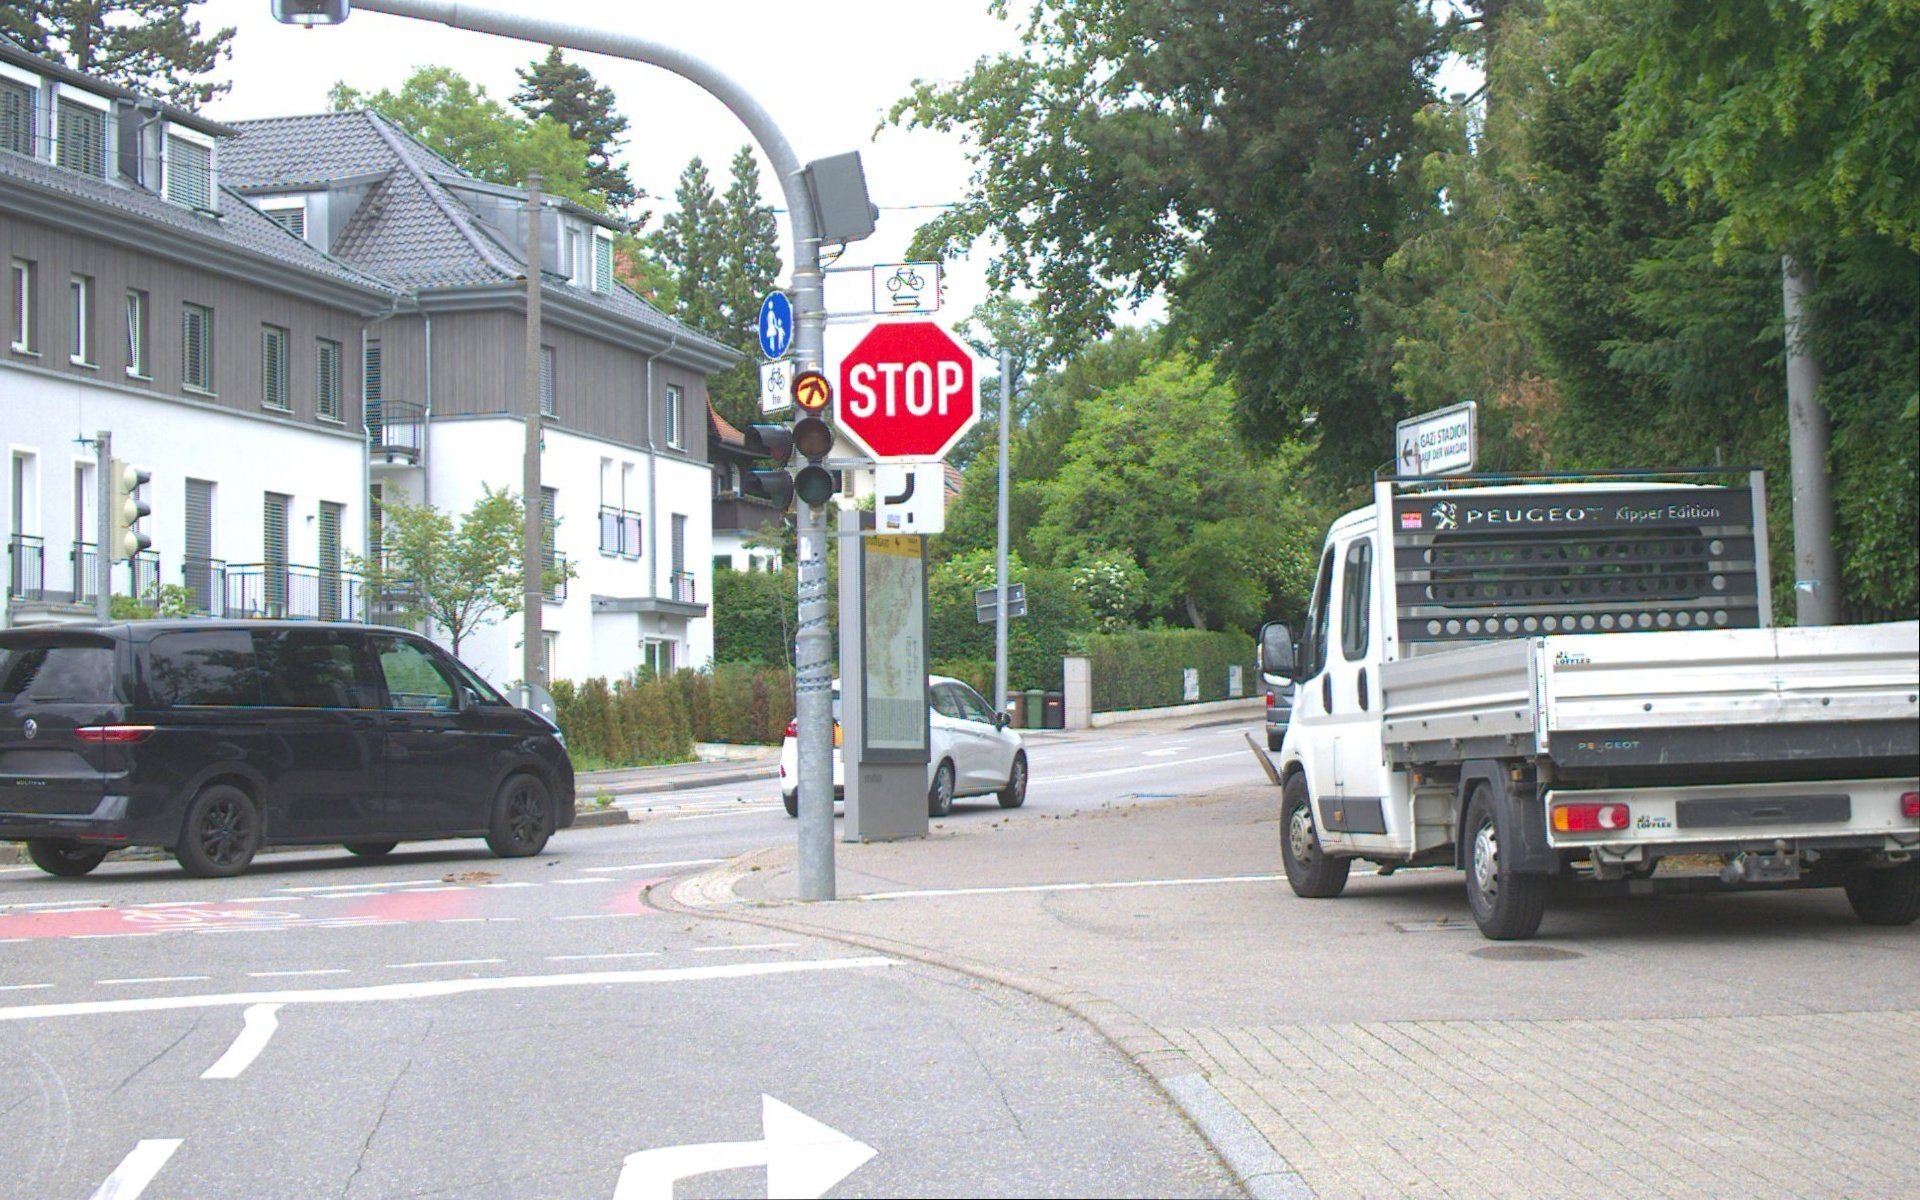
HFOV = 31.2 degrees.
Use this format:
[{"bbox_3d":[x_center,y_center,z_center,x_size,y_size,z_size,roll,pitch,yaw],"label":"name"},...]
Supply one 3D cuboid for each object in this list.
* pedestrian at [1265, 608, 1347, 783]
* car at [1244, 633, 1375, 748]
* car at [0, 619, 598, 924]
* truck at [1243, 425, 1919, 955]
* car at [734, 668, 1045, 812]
[{"bbox_3d":[4.028,1.107,40.096,0.838,2.007,0.589,-2,0,1],"label":"pedestrian"},{"bbox_3d":[6.385,1.665,63.230,1.993,2.007,4.509,-1,-2,1],"label":"car"},{"bbox_3d":[-5.122,1.202,26.297,1.998,2.007,4.771,2,1,35],"label":"car"},{"bbox_3d":[3.087,0.458,17.323,2.183,2.187,5.882,-1,-2,-6],"label":"truck"},{"bbox_3d":[-0.671,1.446,36.069,1.932,1.378,3.996,-2,-2,20],"label":"car"}]
